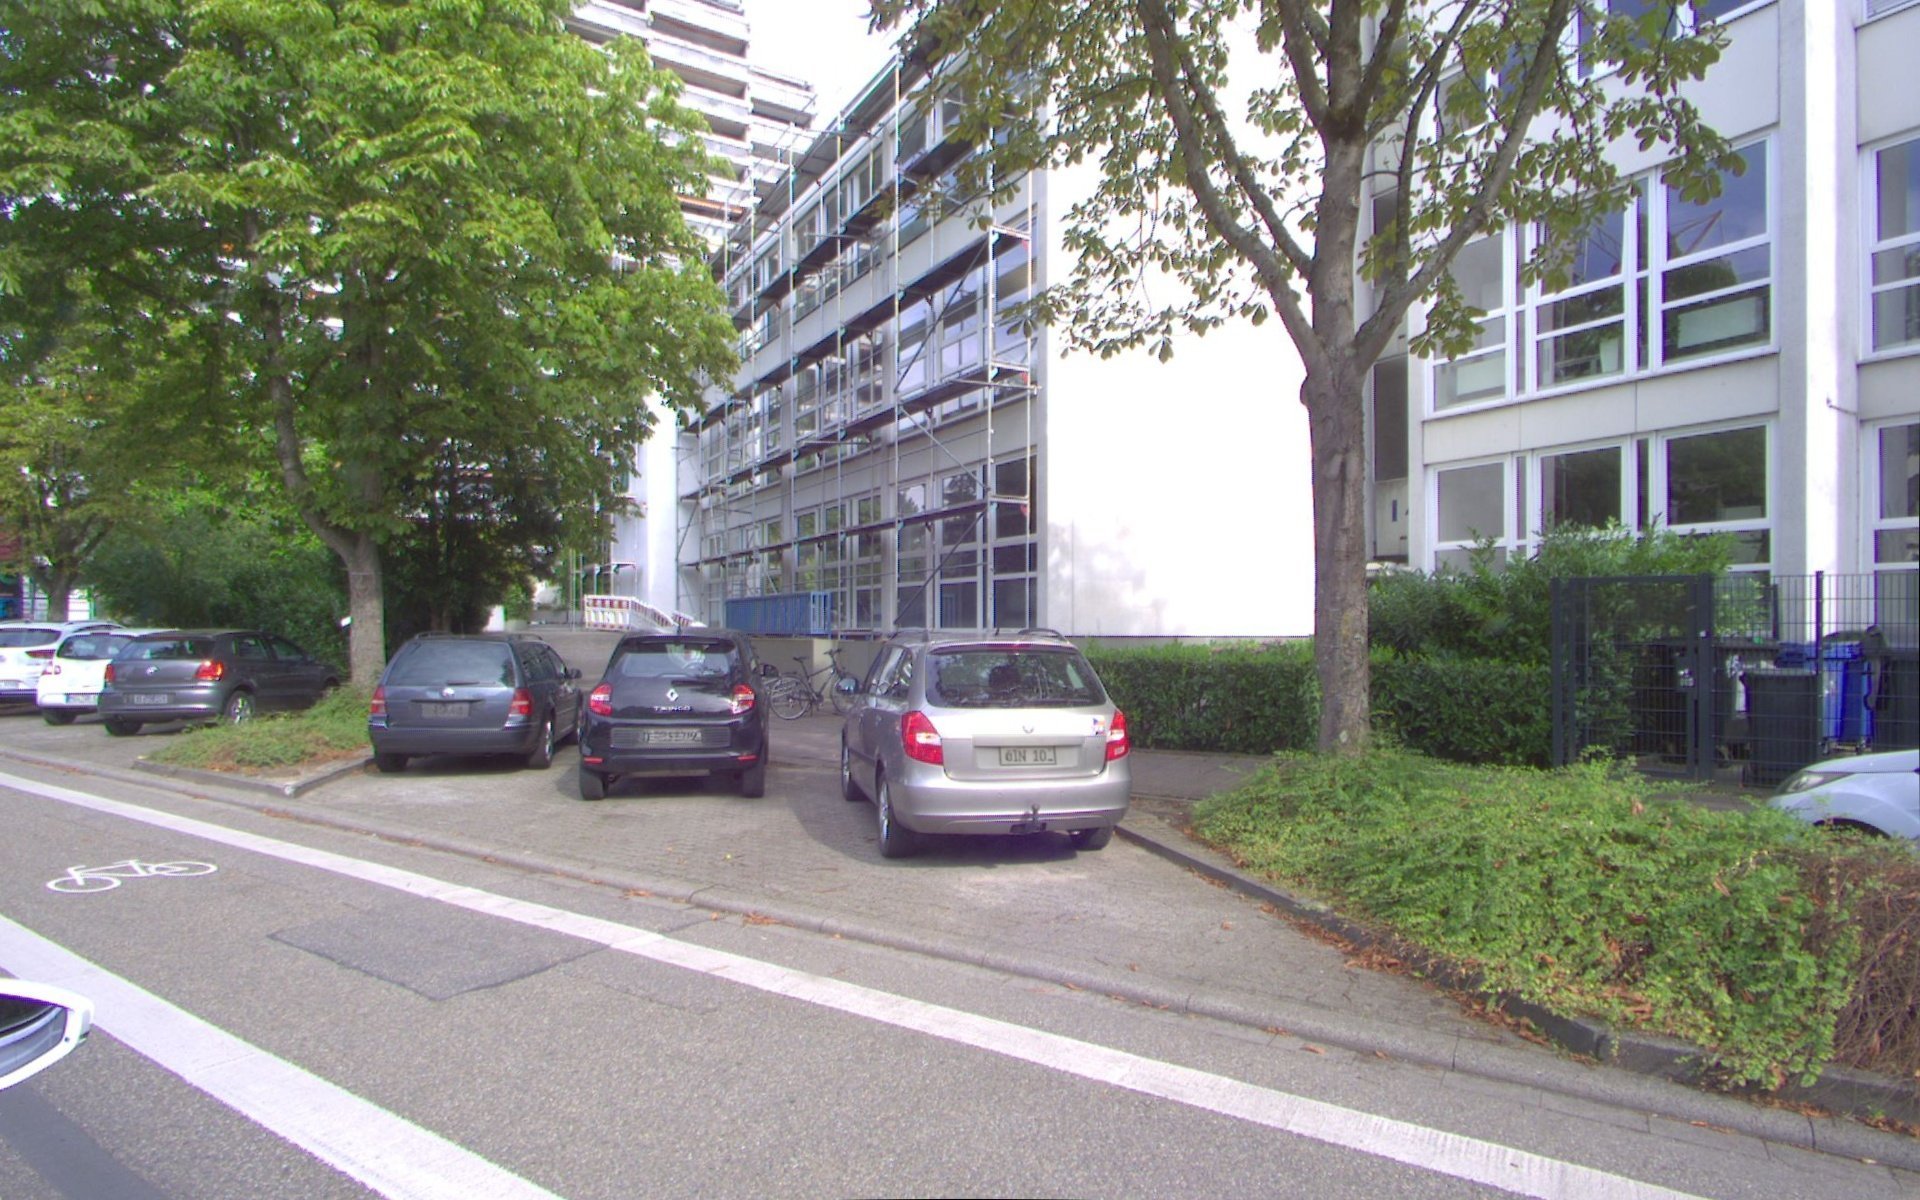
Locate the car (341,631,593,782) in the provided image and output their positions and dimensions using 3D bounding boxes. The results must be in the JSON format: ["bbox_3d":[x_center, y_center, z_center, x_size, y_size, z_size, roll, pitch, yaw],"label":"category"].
[{"bbox_3d":[-5.520,1.087,11.794,1.783,1.433,4.166,0,-2,-14],"label":"car"}]

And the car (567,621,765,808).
[{"bbox_3d":[-2.815,1.012,10.198,1.566,1.557,3.416,1,-1,-10],"label":"car"}]

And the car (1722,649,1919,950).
[{"bbox_3d":[5.568,0.942,4.024,1.604,1.411,3.858,1,-2,-13],"label":"car"}]

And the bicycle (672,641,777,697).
[{"bbox_3d":[-4.632,1.340,19.690,1.944,1.057,0.593,1,-1,-20],"label":"bicycle"}]

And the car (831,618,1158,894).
[{"bbox_3d":[-0.021,0.958,7.823,1.566,1.557,4.049,1,-2,-13],"label":"car"}]

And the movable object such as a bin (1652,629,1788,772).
[{"bbox_3d":[8.076,1.021,10.648,1.012,1.425,0.906,1,-1,-36],"label":"movable object such as a bin"}]

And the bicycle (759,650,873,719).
[{"bbox_3d":[-2.373,1.377,16.601,1.813,1.057,0.451,0,0,-29],"label":"bicycle"}]

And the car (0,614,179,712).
[{"bbox_3d":[-16.292,1.103,18.377,1.651,1.623,3.644,0,-2,-12],"label":"car"}]

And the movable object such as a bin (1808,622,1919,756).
[{"bbox_3d":[11.565,1.075,12.576,1.160,1.588,1.171,1,-1,-36],"label":"movable object such as a bin"}]

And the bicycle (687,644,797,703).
[{"bbox_3d":[-4.112,1.365,18.955,1.949,1.057,0.591,1,-1,-30],"label":"bicycle"}]

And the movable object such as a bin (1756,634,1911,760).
[{"bbox_3d":[10.382,1.100,11.915,1.160,1.388,1.171,1,-1,-36],"label":"movable object such as a bin"}]

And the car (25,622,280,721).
[{"bbox_3d":[-13.434,1.136,16.965,1.650,1.493,3.647,0,-2,-6],"label":"car"}]

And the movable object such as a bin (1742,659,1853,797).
[{"bbox_3d":[7.460,1.108,8.956,0.734,1.119,0.781,0,-1,38],"label":"movable object such as a bin"}]

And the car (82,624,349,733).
[{"bbox_3d":[-11.095,1.108,15.264,1.650,1.438,3.647,0,-2,-6],"label":"car"}]

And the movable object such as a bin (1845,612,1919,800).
[{"bbox_3d":[8.597,0.889,8.571,1.397,1.549,1.322,-1,-1,37],"label":"movable object such as a bin"}]

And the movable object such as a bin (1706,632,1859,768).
[{"bbox_3d":[9.237,1.073,11.261,1.050,1.409,1.111,1,-1,-36],"label":"movable object such as a bin"}]
